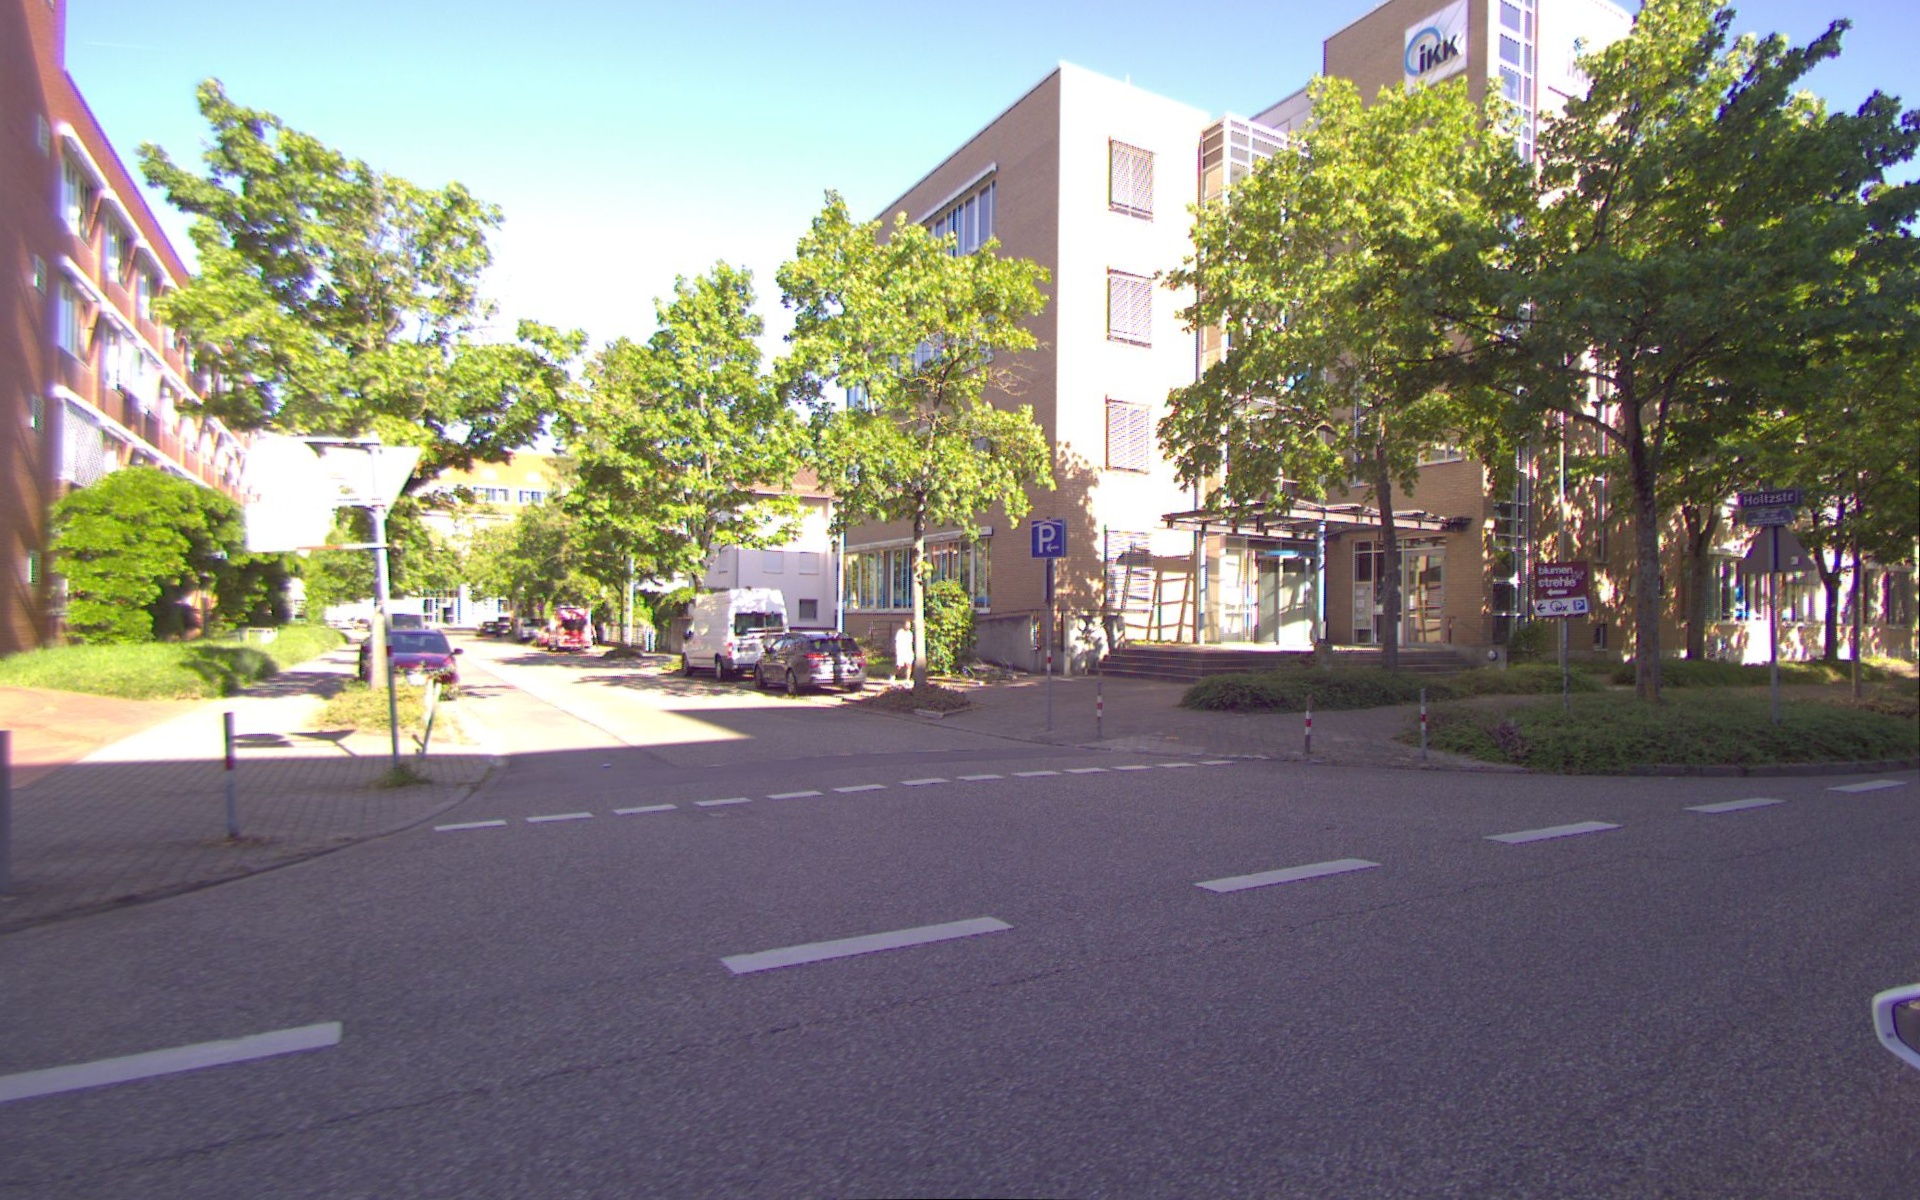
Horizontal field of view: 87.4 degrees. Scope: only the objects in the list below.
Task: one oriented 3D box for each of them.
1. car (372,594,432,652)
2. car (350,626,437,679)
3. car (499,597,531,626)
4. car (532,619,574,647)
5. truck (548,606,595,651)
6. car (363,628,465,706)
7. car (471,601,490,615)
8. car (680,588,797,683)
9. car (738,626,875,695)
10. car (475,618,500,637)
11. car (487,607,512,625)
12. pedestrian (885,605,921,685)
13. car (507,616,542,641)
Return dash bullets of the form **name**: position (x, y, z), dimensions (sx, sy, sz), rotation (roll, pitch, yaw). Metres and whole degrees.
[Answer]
- **car**: position (-23.574, 0.985, 42.502), dimensions (2.059, 2.299, 4.689), rotation (1, -2, -29)
- **car**: position (-15.192, 1.375, 27.047), dimensions (1.825, 1.203, 4.688), rotation (3, -2, -29)
- **car**: position (-37.058, 0.992, 83.636), dimensions (2.059, 2.299, 4.689), rotation (1, -2, -29)
- **car**: position (-26.527, 2.155, 65.408), dimensions (1.964, 1.755, 4.689), rotation (1, -2, -29)
- **truck**: position (-23.075, 1.698, 59.614), dimensions (1.977, 2.575, 3.967), rotation (1, -2, -31)
- **car**: position (-12.255, 1.425, 22.600), dimensions (1.825, 1.471, 4.407), rotation (1, -1, -29)
- **car**: position (-60.779, 1.058, 127.328), dimensions (1.962, 1.734, 4.144), rotation (1, -2, -29)
- **car**: position (-6.810, 1.061, 30.373), dimensions (1.901, 2.603, 5.436), rotation (1, -2, -30)
- **car**: position (-3.934, 1.425, 25.046), dimensions (1.826, 1.483, 4.686), rotation (1, -1, -30)
- **car**: position (-42.310, 2.465, 89.992), dimensions (1.837, 1.575, 3.663), rotation (1, -2, -28)
- **car**: position (-46.171, 1.607, 100.680), dimensions (1.846, 1.668, 4.296), rotation (2, -2, -29)
- **pedestrian**: position (-1.415, 1.120, 24.910), dimensions (0.664, 1.943, 0.619), rotation (1, -2, -28)
- **car**: position (-33.667, 2.201, 77.563), dimensions (2.059, 1.892, 4.689), rotation (1, -2, -29)
